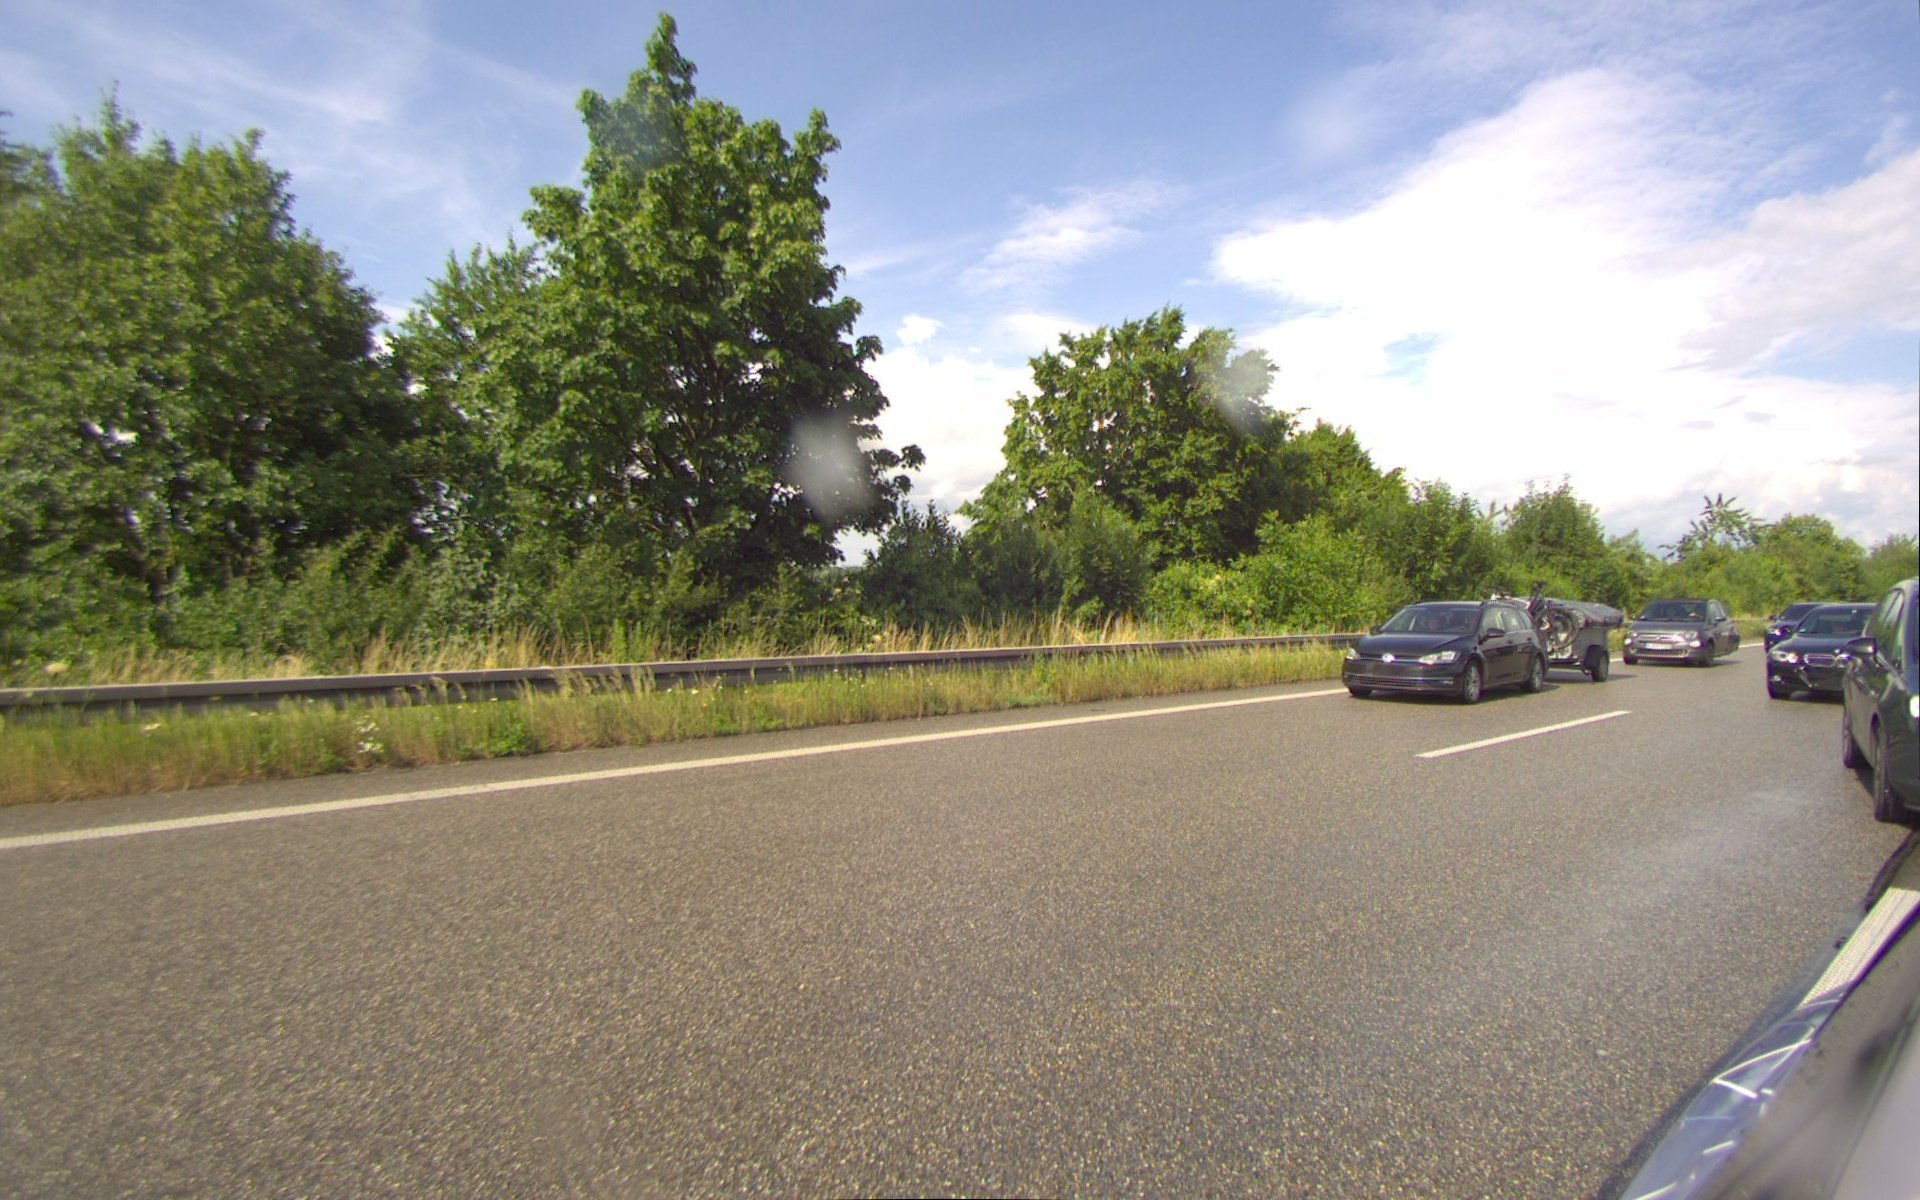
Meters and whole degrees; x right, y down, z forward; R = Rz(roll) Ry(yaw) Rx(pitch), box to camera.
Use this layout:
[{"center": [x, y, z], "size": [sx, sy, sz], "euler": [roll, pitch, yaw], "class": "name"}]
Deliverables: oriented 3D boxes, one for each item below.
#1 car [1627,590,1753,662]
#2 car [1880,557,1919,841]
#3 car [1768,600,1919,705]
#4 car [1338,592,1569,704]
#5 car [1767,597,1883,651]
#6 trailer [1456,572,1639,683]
[{"center": [16.570, 0.535, 22.927], "size": [3.421, 1.507, 1.614], "euler": [0, 1, -42], "class": "car"}, {"center": [7.703, 0.575, 7.056], "size": [1.853, 1.652, 4.662], "euler": [1, 0, 43], "class": "car"}, {"center": [13.619, 0.694, 15.124], "size": [3.815, 1.371, 1.721], "euler": [0, 0, -40], "class": "car"}, {"center": [7.595, 0.612, 15.380], "size": [4.331, 1.449, 1.745], "euler": [0, 1, -43], "class": "car"}, {"center": [24.239, 0.608, 28.311], "size": [4.499, 1.368, 1.770], "euler": [0, 1, -40], "class": "car"}, {"center": [10.613, 0.430, 18.173], "size": [3.901, 1.768, 1.807], "euler": [0, 0, -43], "class": "trailer"}]
